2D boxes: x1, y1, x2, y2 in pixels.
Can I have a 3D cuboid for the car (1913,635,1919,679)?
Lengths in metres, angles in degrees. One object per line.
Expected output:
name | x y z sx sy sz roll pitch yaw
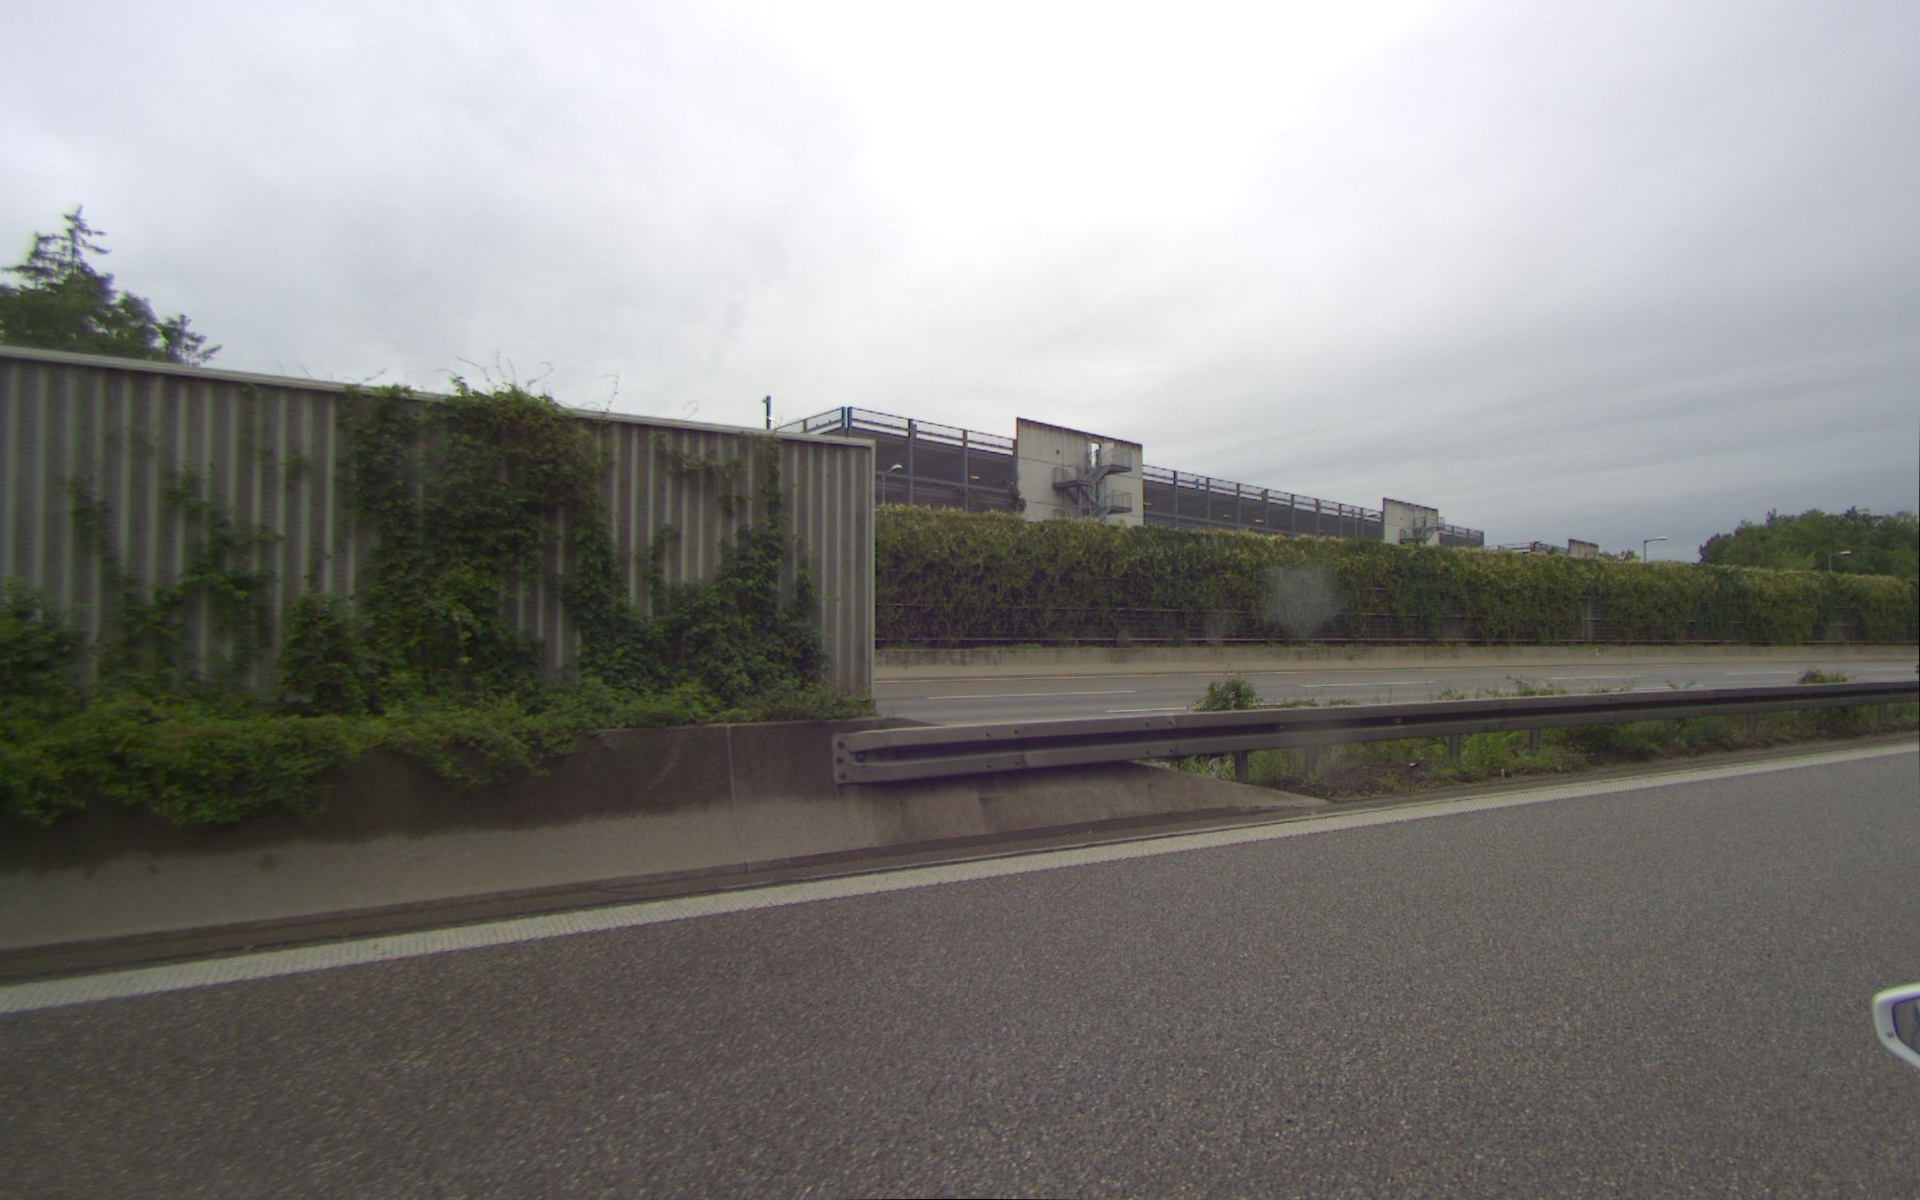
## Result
car | 37.161 2.155 37.016 4.662 1.590 1.763 2 -1 -30
